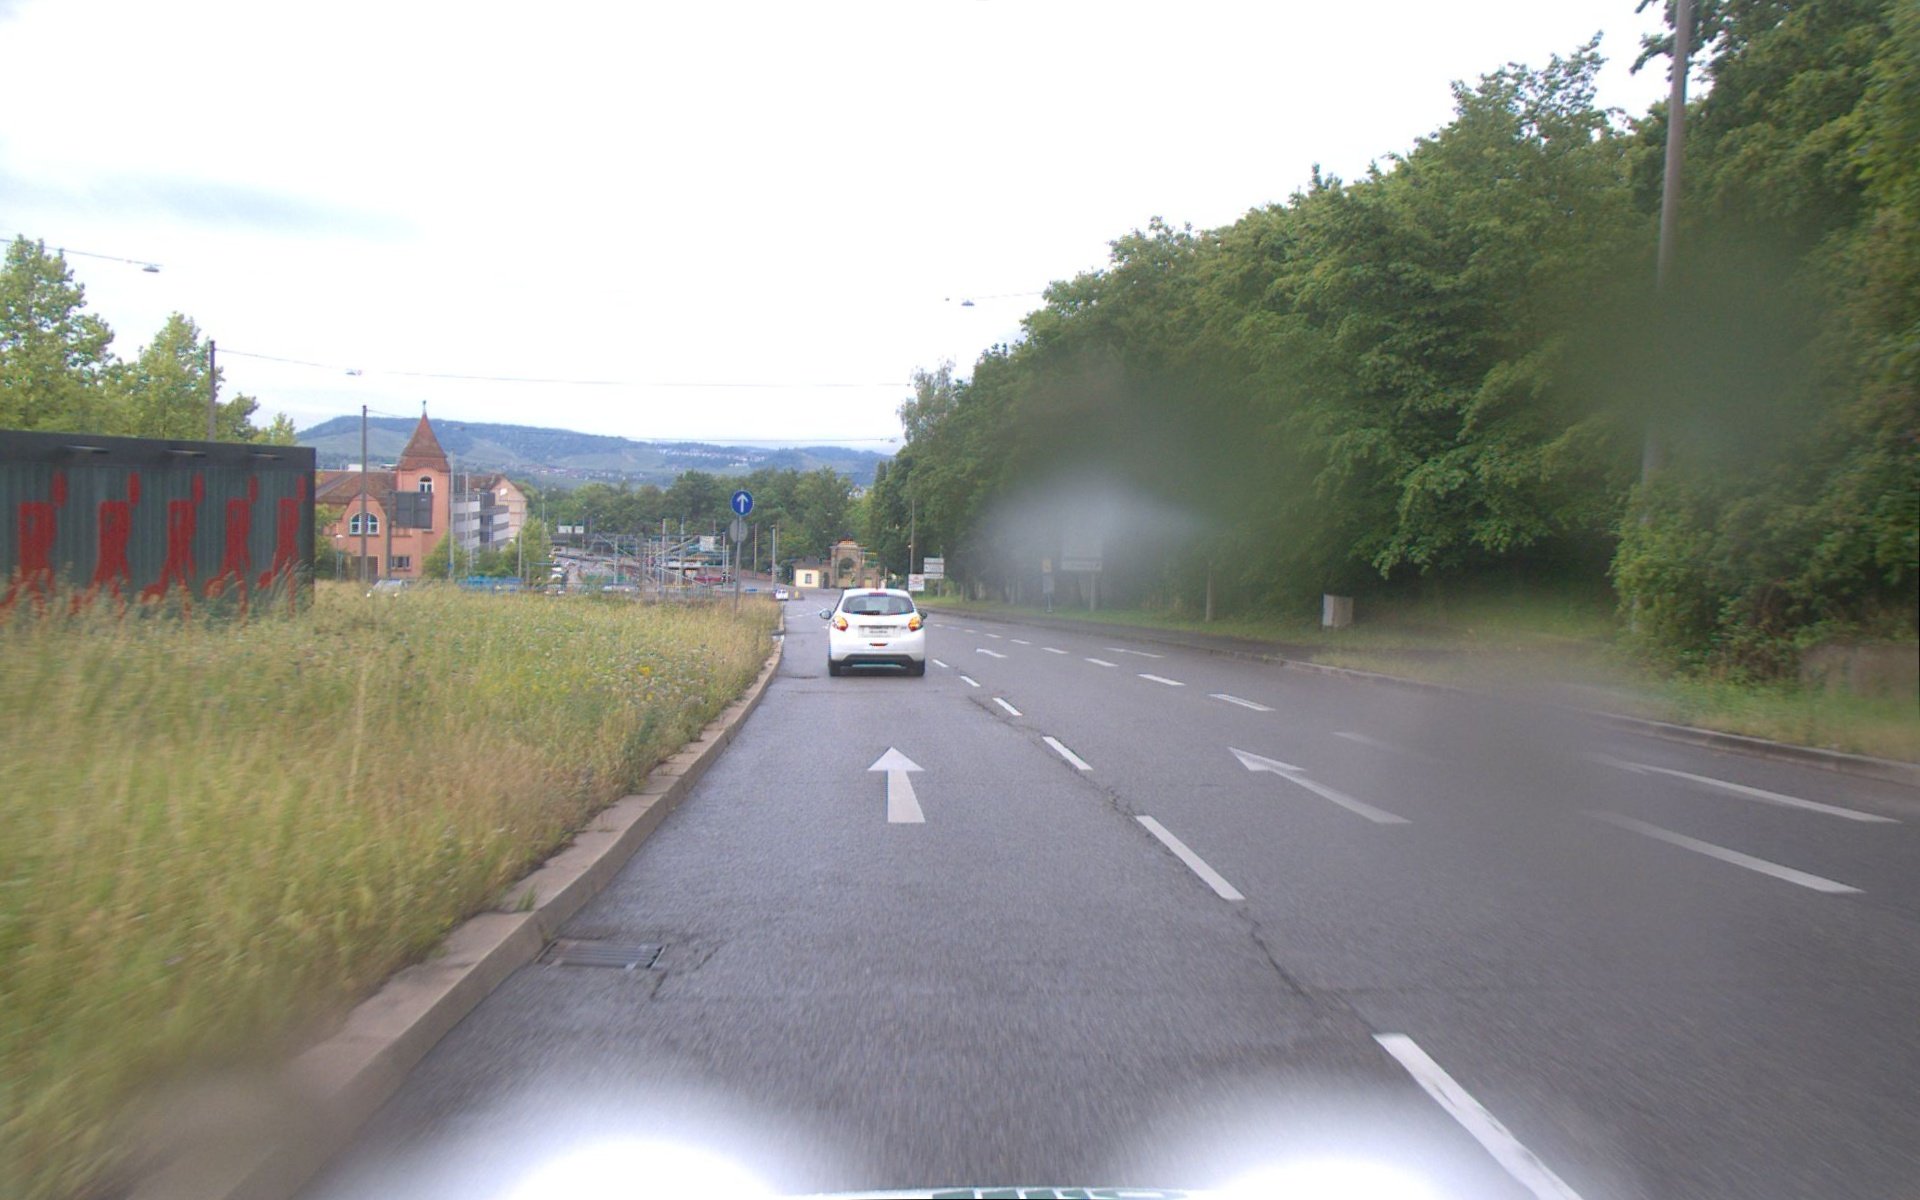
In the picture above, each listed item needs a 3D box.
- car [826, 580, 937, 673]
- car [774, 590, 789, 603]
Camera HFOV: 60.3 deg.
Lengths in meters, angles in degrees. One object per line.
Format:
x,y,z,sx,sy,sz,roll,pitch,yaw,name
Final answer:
-1.414,0.422,29.506,1.831,1.537,3.897,0,1,-3,car
-24.048,-0.446,222.956,1.787,1.634,3.996,-1,0,-5,car
